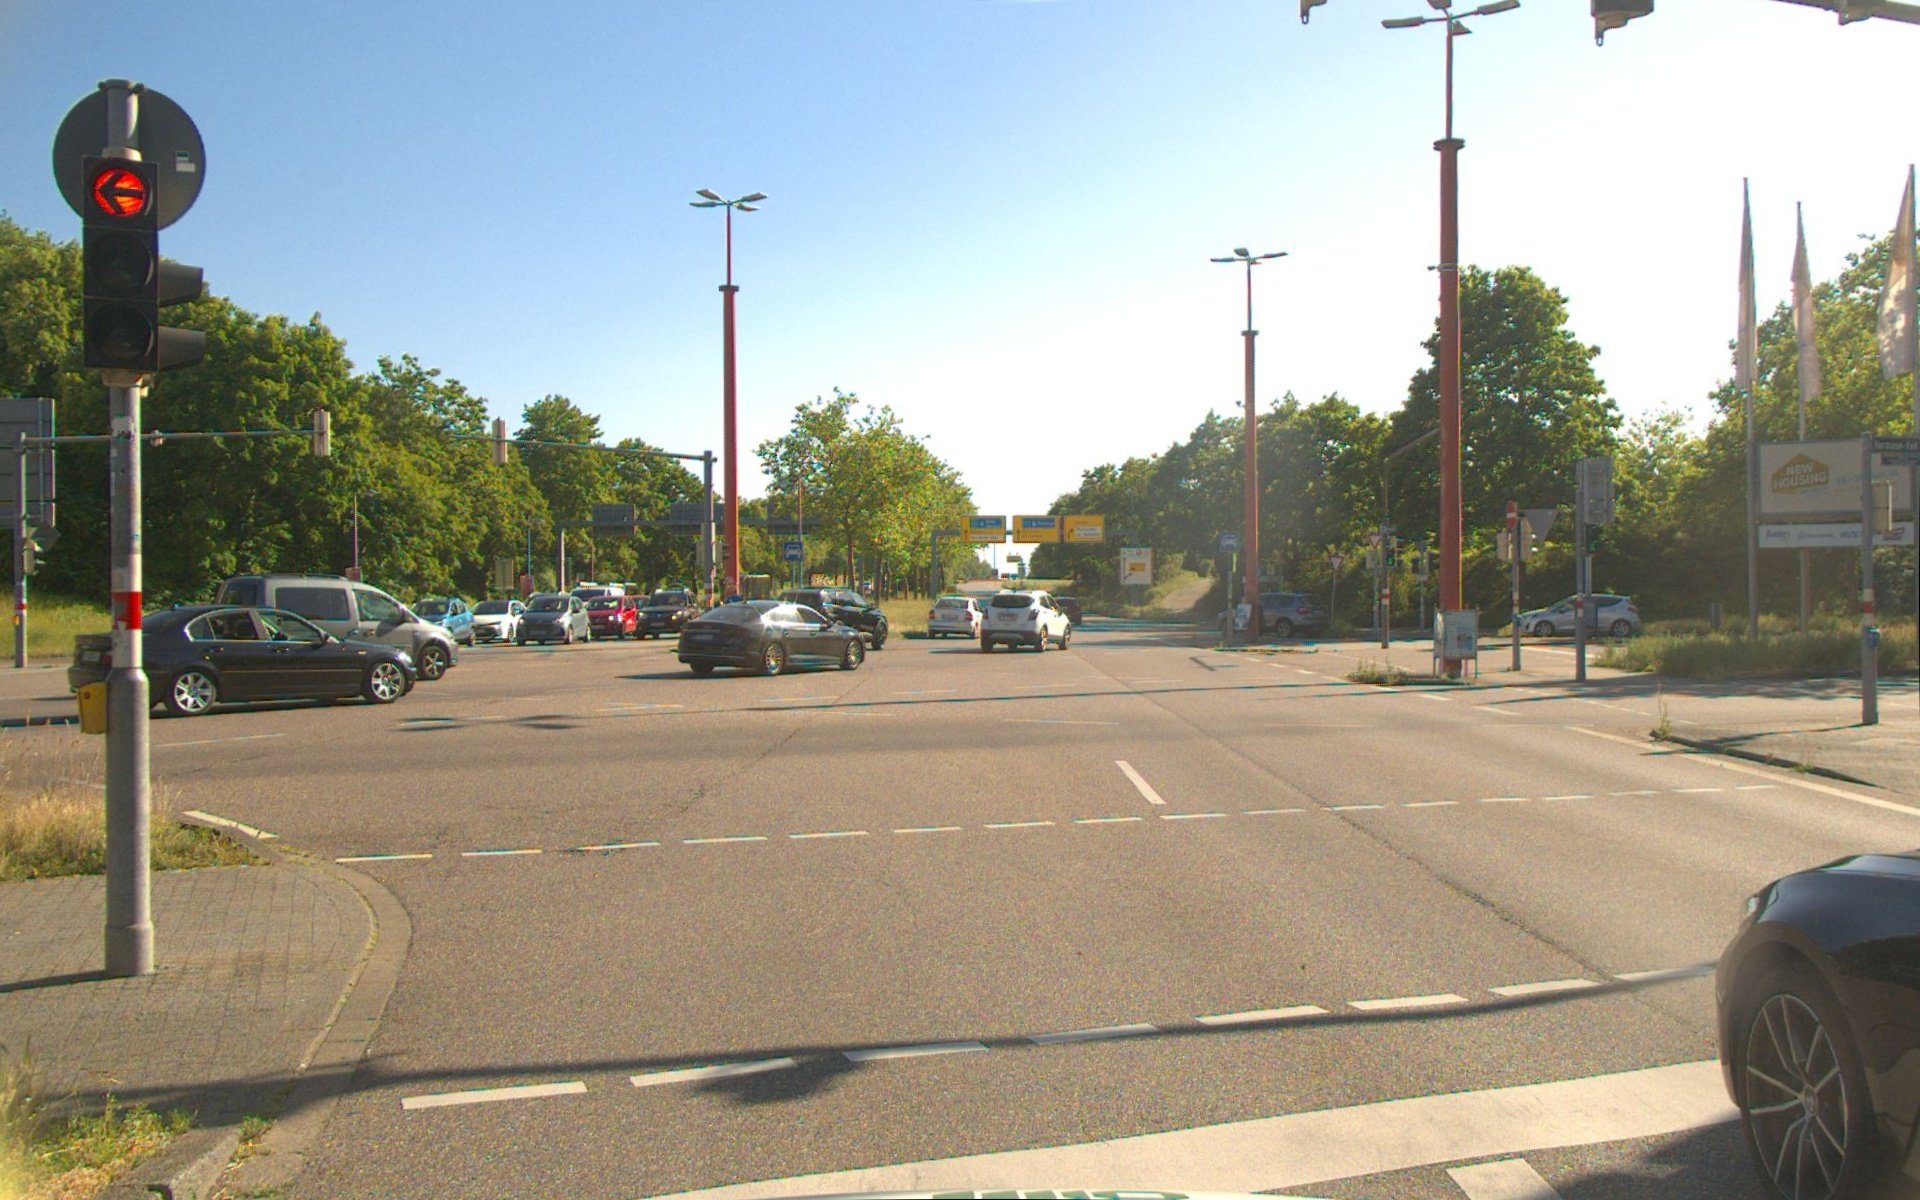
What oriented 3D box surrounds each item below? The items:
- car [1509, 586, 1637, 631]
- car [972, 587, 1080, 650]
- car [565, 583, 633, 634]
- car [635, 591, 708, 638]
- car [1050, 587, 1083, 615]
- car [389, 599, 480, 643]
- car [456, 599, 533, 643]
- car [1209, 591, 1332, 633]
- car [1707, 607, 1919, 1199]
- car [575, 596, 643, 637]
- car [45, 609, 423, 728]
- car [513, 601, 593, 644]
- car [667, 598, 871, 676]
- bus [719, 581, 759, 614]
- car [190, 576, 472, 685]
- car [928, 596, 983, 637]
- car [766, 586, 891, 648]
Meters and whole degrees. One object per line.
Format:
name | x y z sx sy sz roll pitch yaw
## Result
car | 20.842 0.283 56.385 3.897 1.493 1.685 0 0 14
car | 1.889 0.482 45.954 1.785 1.665 4.254 0 0 20
car | -15.385 0.369 70.666 1.855 2.061 5.221 1 0 -2
car | -9.707 0.473 55.909 1.782 1.534 3.999 0 0 -1
car | 5.777 0.030 89.202 1.644 1.460 4.068 0 0 5
car | -16.053 0.614 50.671 1.704 1.265 3.611 0 0 -2
car | -15.930 0.704 56.788 1.704 1.436 3.611 0 0 -2
car | 11.697 0.450 62.408 4.246 1.511 1.777 0 0 38
car | 2.944 0.736 2.358 1.831 1.422 4.444 0 0 1
car | -12.279 0.556 58.070 1.704 1.386 3.611 0 0 -2
car | -9.575 0.838 22.101 1.732 1.373 4.341 0 0 39
car | -12.672 0.672 51.693 1.704 1.265 3.611 0 0 -2
car | -3.601 0.661 31.986 1.726 1.373 4.356 0 0 29
bus | -22.409 -0.268 168.412 2.440 3.295 10.002 0 0 2
car | -10.771 0.473 28.587 1.815 1.738 4.290 0 0 36
car | -0.127 0.586 57.694 1.451 1.369 4.003 0 -1 7
car | -3.407 0.418 43.643 1.813 1.572 4.264 0 0 18
